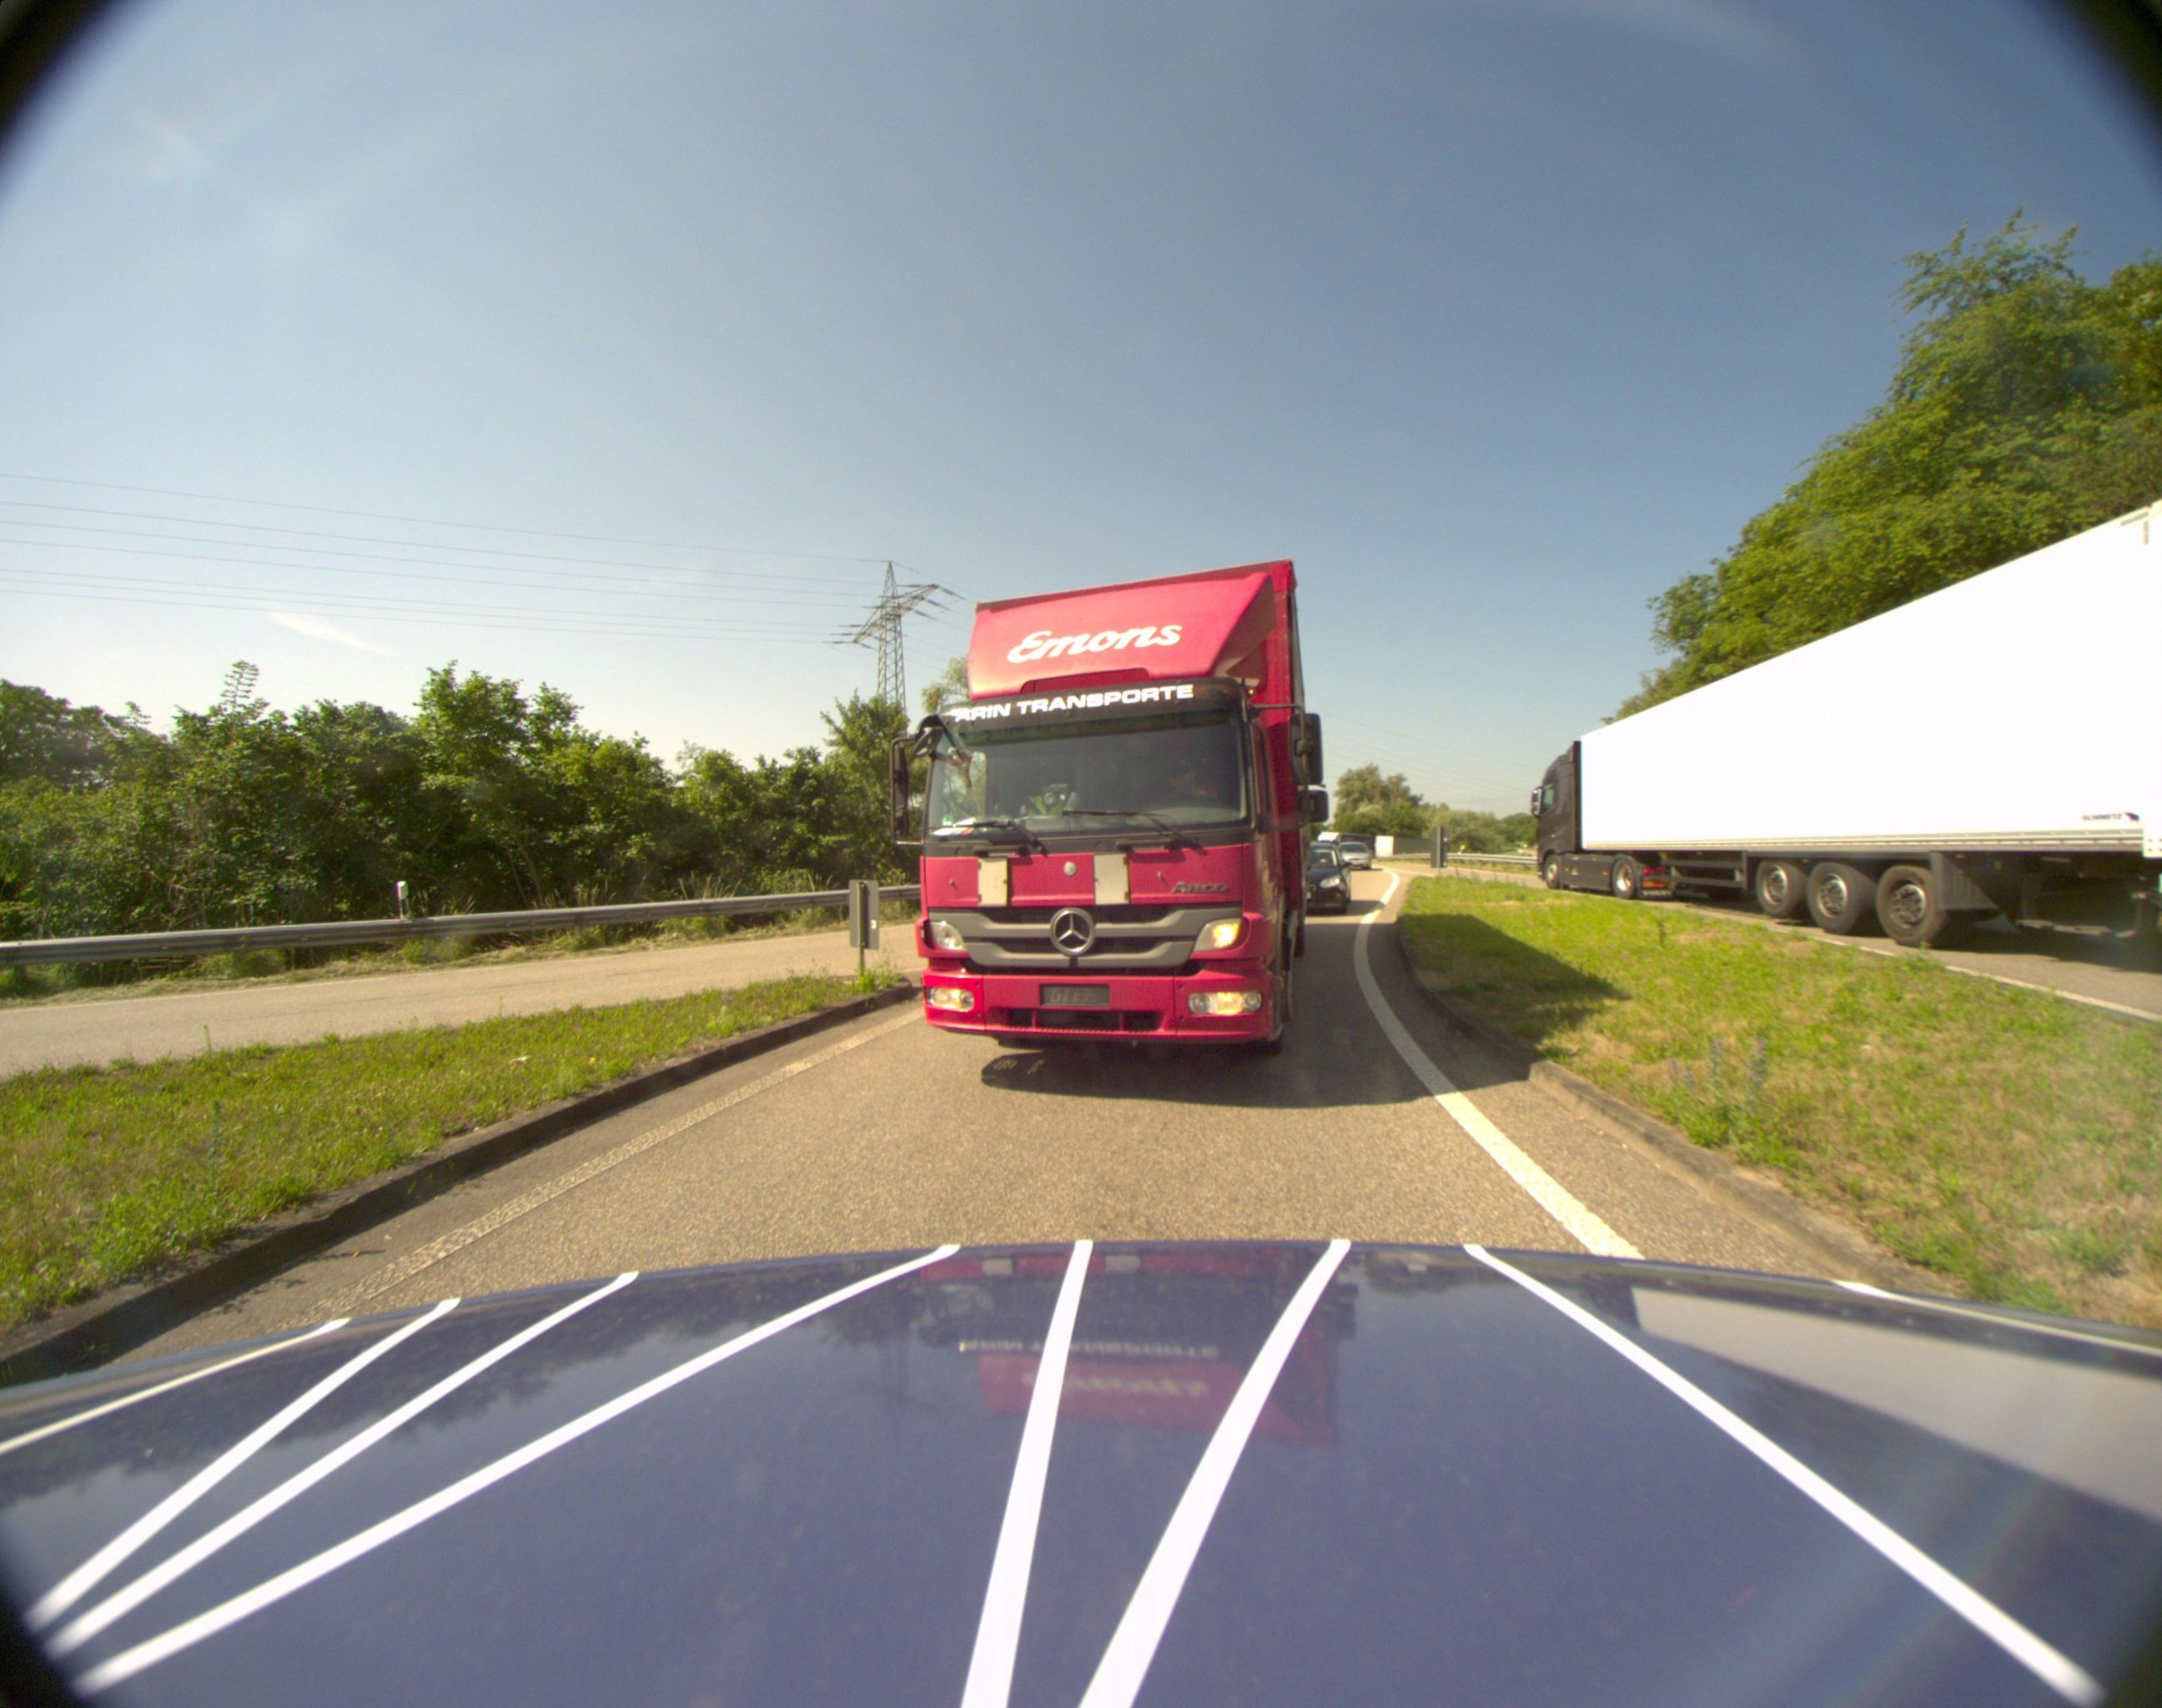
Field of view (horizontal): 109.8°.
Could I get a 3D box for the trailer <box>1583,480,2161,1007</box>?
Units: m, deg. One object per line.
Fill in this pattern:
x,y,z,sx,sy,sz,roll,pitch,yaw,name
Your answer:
11.868,-1.017,11.879,2.890,4.141,13.997,-1,1,17,trailer

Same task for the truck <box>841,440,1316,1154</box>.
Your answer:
1.249,-0.338,8.695,2.686,3.640,9.272,-1,1,17,truck

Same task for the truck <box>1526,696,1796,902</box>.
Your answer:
13.790,-1.159,18.791,2.875,4.149,5.974,-2,1,11,truck

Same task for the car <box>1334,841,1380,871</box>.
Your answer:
13.990,0.054,38.747,1.785,1.377,4.382,-1,1,15,car

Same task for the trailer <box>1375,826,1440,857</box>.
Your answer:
47.956,-1.779,111.389,14.009,4.244,2.950,-1,2,-41,trailer

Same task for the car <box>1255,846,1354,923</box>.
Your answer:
4.996,0.584,16.656,1.785,1.406,4.005,-1,1,20,car

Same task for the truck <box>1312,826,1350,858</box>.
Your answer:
34.356,-1.694,104.258,2.932,4.214,5.744,2,2,40,truck

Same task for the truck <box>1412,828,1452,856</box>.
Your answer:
53.510,-1.819,115.867,5.743,4.223,2.932,0,2,-34,truck

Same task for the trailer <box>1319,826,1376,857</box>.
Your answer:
38.624,-1.747,109.580,2.922,4.216,14.010,2,2,40,trailer
